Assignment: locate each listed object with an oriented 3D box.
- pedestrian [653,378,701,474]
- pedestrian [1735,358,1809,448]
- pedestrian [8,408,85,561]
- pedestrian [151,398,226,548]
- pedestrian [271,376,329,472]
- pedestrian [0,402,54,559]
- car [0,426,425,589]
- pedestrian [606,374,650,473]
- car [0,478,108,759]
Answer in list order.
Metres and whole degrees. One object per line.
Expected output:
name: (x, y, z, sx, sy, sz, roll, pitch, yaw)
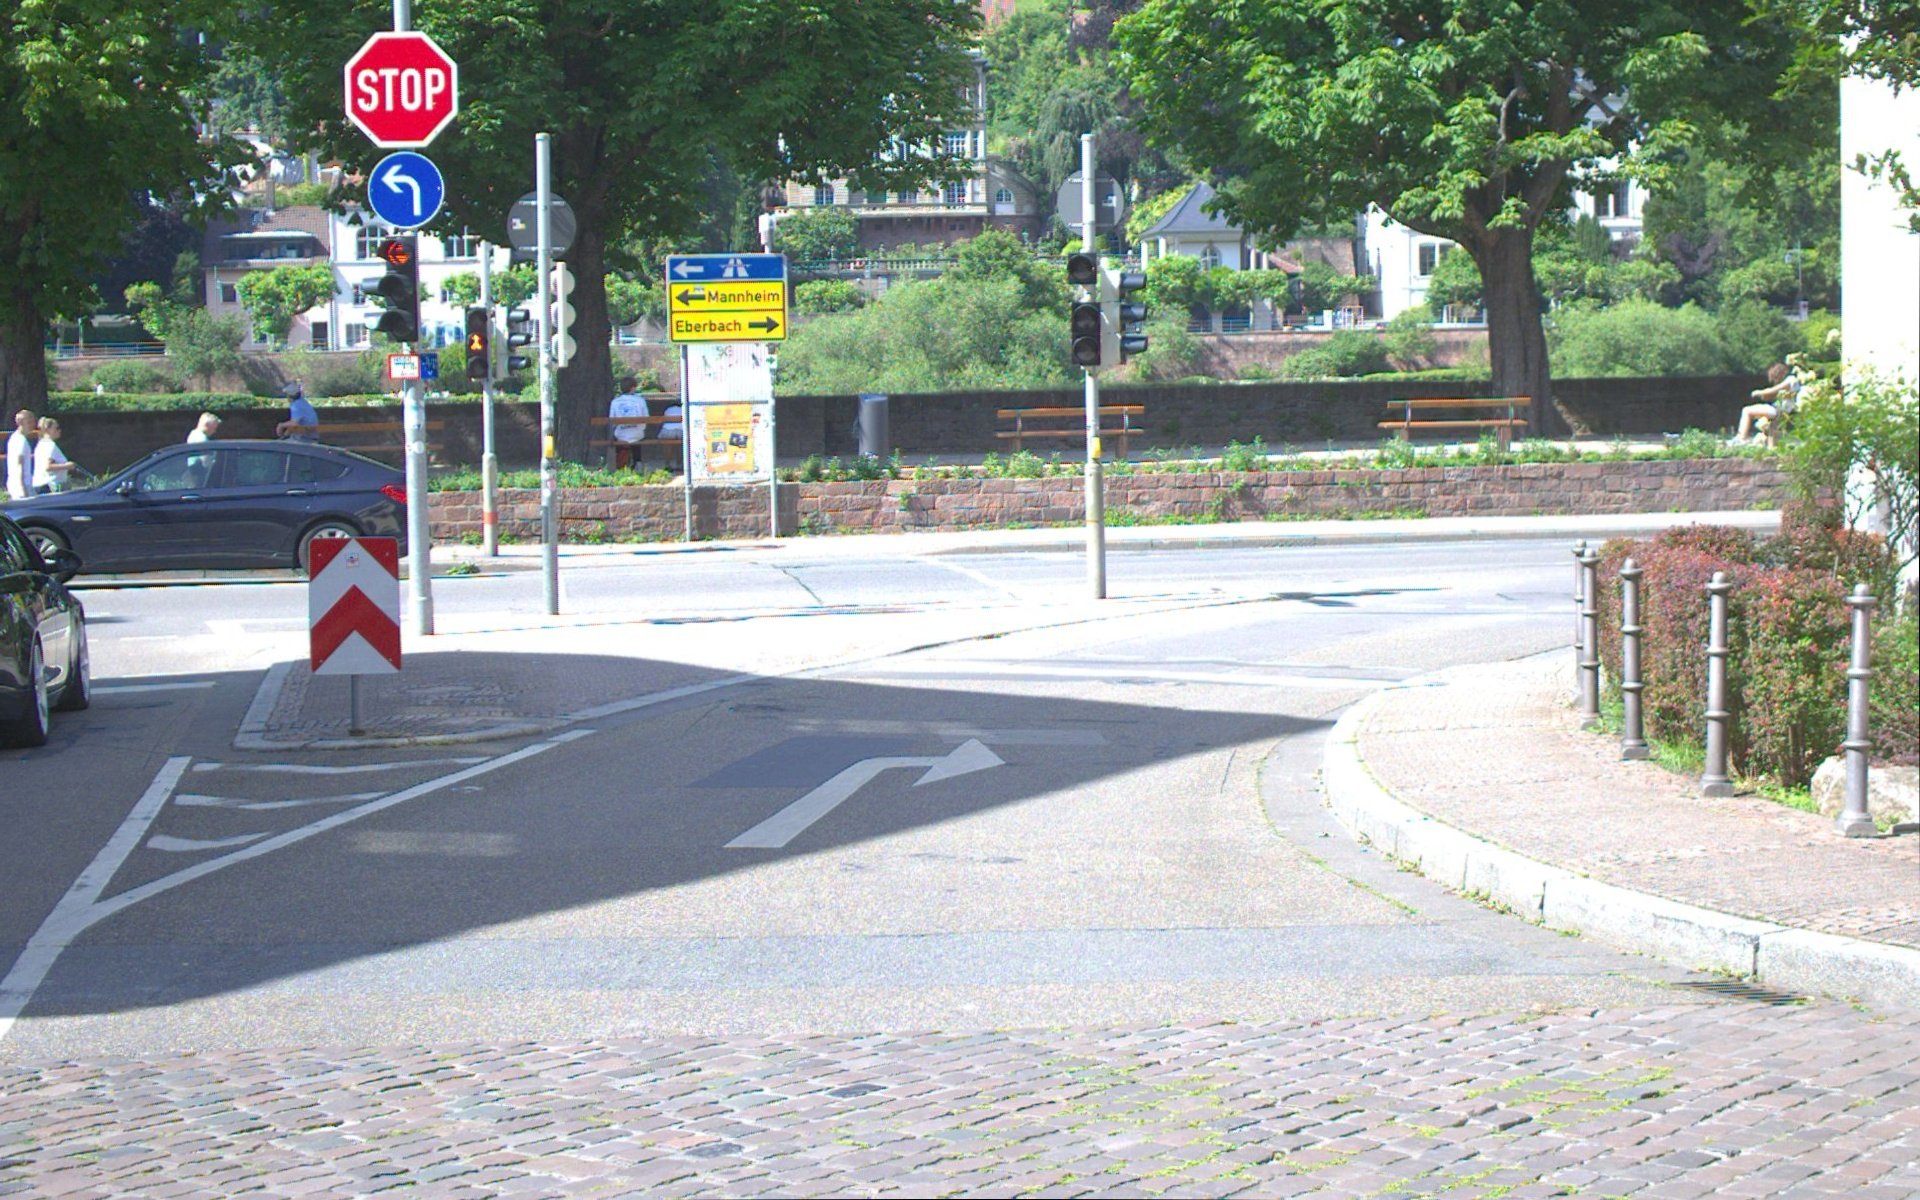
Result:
pedestrian: (-3.770, -2.306, 45.742, 0.553, 1.224, 0.986, 1, 0, -8)
pedestrian: (11.303, -2.738, 47.845, 0.797, 1.207, 0.715, 1, 0, -5)
pedestrian: (-10.979, -1.390, 41.315, 0.721, 1.795, 0.634, -2, 2, -5)
pedestrian: (-9.250, -1.525, 41.249, 0.688, 1.763, 0.717, -2, 2, -3)
pedestrian: (-8.579, -2.286, 44.700, 0.641, 1.224, 0.414, -3, 2, -19)
pedestrian: (-10.926, -1.389, 39.978, 0.578, 1.795, 0.705, -2, 2, -5)
car: (-8.248, -1.002, 37.082, 4.762, 1.512, 1.907, -3, 2, -11)
pedestrian: (-4.384, -2.329, 45.488, 0.553, 1.275, 0.704, 1, 0, -5)
car: (-6.335, 0.068, 20.988, 1.714, 1.457, 4.726, -3, 3, -9)
